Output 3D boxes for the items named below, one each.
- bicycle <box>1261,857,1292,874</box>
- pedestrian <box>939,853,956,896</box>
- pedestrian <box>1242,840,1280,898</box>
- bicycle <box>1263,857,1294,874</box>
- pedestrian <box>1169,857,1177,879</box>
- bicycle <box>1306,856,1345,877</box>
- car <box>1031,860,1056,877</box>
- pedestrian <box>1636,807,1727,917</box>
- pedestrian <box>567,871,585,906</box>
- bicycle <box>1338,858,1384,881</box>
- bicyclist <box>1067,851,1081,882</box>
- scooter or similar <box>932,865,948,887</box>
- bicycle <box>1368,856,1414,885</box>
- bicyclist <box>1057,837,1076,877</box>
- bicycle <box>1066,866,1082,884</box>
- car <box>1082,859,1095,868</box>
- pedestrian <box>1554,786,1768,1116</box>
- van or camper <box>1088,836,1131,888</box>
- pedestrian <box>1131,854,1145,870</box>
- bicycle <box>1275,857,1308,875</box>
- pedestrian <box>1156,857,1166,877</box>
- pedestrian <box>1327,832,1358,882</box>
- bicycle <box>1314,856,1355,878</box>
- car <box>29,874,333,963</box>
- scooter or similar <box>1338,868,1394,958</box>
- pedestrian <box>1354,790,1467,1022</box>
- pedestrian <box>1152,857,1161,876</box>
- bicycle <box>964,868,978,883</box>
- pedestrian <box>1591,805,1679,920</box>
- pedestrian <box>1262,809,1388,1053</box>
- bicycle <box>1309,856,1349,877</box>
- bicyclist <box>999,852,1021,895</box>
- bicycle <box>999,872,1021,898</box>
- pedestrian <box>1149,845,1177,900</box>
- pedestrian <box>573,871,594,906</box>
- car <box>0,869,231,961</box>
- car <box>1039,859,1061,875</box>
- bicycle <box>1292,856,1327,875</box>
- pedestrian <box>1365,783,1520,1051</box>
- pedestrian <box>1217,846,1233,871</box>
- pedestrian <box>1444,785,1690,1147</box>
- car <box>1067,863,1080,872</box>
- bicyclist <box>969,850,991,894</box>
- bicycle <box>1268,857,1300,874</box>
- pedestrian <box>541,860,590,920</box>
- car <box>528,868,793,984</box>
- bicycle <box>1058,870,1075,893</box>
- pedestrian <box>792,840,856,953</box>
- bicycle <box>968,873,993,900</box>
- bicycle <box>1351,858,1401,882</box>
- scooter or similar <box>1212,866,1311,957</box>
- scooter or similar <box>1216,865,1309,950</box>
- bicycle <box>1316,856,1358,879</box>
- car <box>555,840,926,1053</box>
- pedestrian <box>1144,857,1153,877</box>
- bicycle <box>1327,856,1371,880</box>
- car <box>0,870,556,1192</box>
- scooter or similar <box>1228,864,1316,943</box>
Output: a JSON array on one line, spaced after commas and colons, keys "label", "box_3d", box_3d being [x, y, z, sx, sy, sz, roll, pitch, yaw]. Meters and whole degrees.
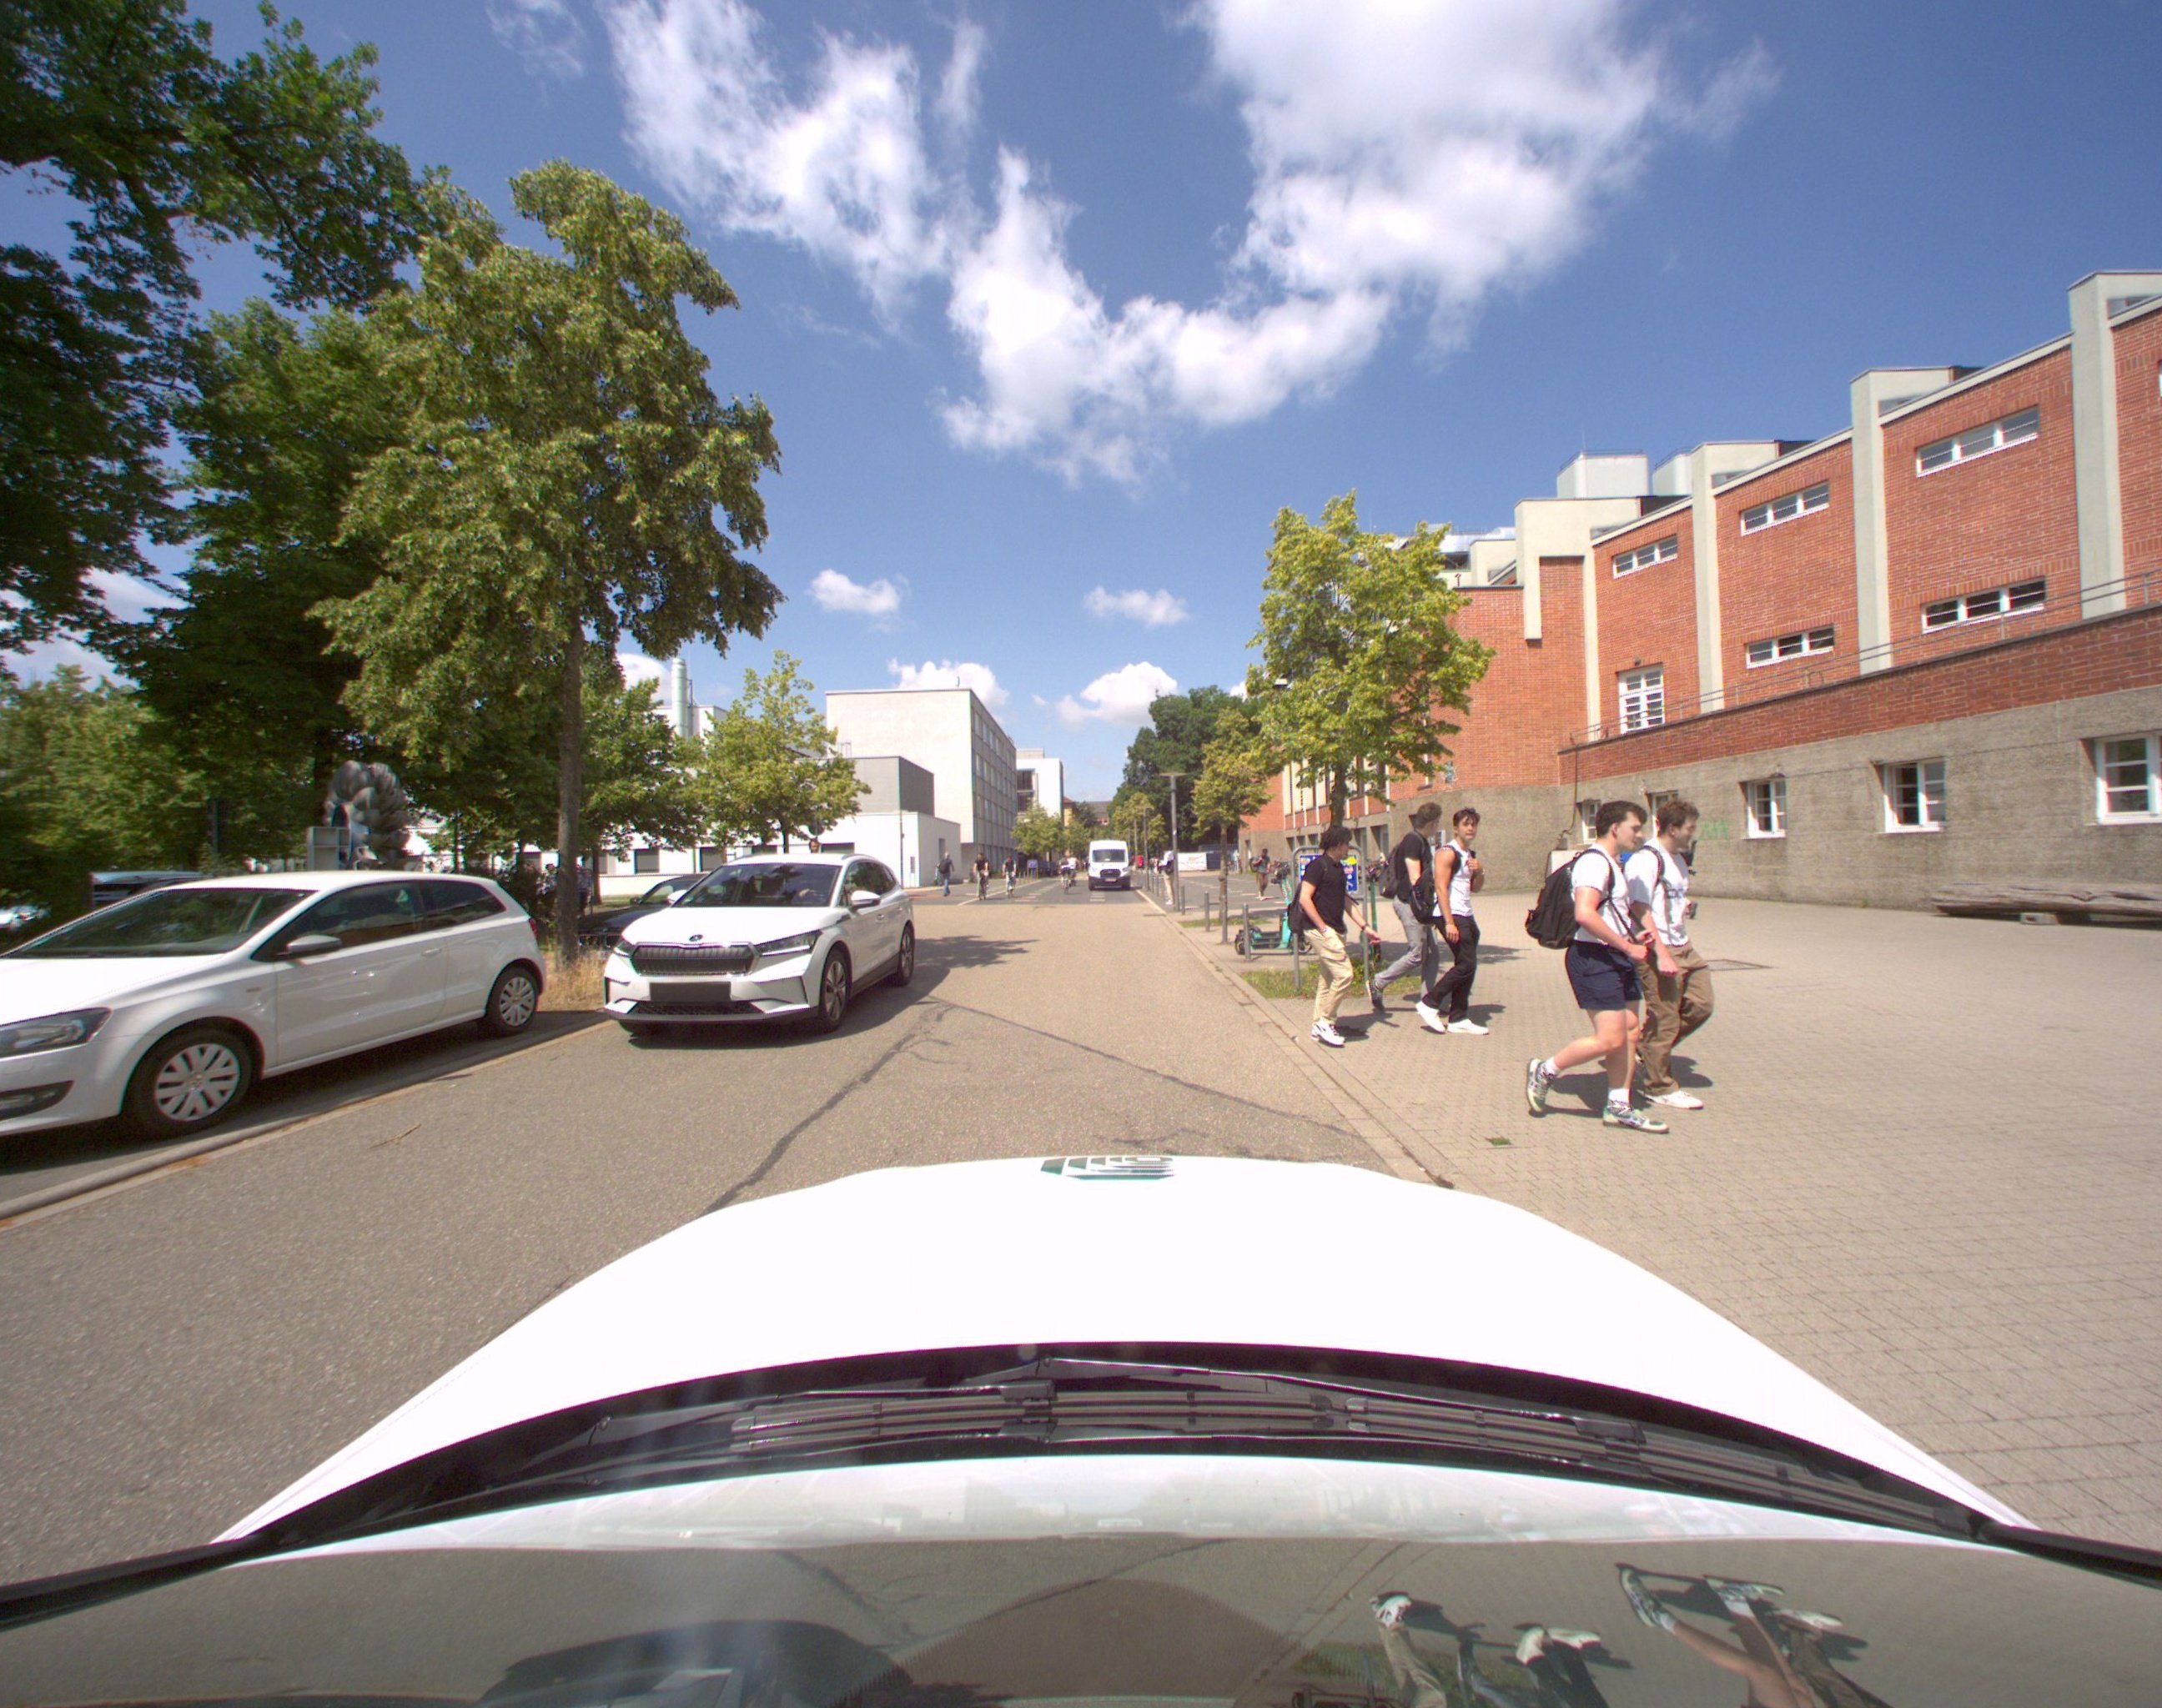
[{"label": "bicycle", "box_3d": [12.631, 0.719, 52.544, 1.803, 0.985, 0.560, -3, -1, 0]}, {"label": "pedestrian", "box_3d": [-5.578, 0.853, 33.976, 0.667, 1.785, 0.981, -1, -2, -12]}, {"label": "pedestrian", "box_3d": [5.680, 0.466, 25.753, 0.851, 1.733, 1.160, -3, -1, -1]}, {"label": "bicycle", "box_3d": [12.604, 0.710, 51.927, 1.803, 0.985, 0.560, -3, -1, 0]}, {"label": "pedestrian", "box_3d": [7.624, 1.158, 67.524, 0.574, 1.860, 0.569, -2, -1, -1]}, {"label": "bicycle", "box_3d": [12.691, 0.648, 42.357, 1.803, 0.985, 0.560, -3, -1, 0]}, {"label": "car", "box_3d": [-3.548, 1.376, 77.362, 1.787, 1.530, 4.006, -2, 0, 5]}, {"label": "pedestrian", "box_3d": [10.490, 0.135, 14.261, 0.701, 1.803, 0.991, -5, 0, -7]}, {"label": "pedestrian", "box_3d": [-25.469, 1.726, 41.077, 0.549, 1.764, 0.586, -1, -1, 2]}, {"label": "bicycle", "box_3d": [12.318, 0.670, 35.843, 1.803, 0.912, 0.560, -3, -1, 0]}, {"label": "bicyclist", "box_3d": [-0.405, 0.744, 48.502, 0.768, 1.756, 0.849, 2, 1, 1]}, {"label": "scooter or similar", "box_3d": [-8.321, 1.290, 48.016, 0.374, 1.216, 1.211, -2, -1, 18]}, {"label": "bicycle", "box_3d": [12.044, 0.633, 31.653, 1.529, 1.033, 0.560, -3, -1, 0]}, {"label": "bicyclist", "box_3d": [-0.651, 0.126, 35.847, 0.715, 1.662, 1.094, -4, -3, -3]}, {"label": "bicycle", "box_3d": [-0.405, 1.235, 48.417, 0.805, 1.002, 2.125, 0, 1, 2]}, {"label": "car", "box_3d": [1.337, 1.717, 143.167, 1.787, 1.530, 4.006, -2, 0, 5]}, {"label": "pedestrian", "box_3d": [3.440, 0.520, 4.847, 0.897, 1.739, 0.683, -4, -1, 39]}, {"label": "van or camper", "box_3d": [1.395, 0.421, 40.564, 1.986, 2.446, 4.571, -1, -1, 2]}, {"label": "pedestrian", "box_3d": [7.414, 1.030, 106.433, 1.495, 1.996, 1.646, -5, 0, -1]}, {"label": "bicycle", "box_3d": [12.569, 0.697, 48.673, 1.803, 0.985, 0.560, -3, -1, 0]}, {"label": "pedestrian", "box_3d": [7.513, 1.209, 76.233, 0.787, 1.860, 1.026, -2, -1, 3]}, {"label": "pedestrian", "box_3d": [10.003, 0.123, 31.198, 0.787, 1.860, 1.116, -2, -1, 0]}, {"label": "bicycle", "box_3d": [12.278, 0.635, 39.464, 1.803, 0.985, 0.560, -3, -1, 0]}, {"label": "car", "box_3d": [-20.419, 1.380, 18.851, 1.921, 1.516, 4.442, -5, 0, 1]}, {"label": "scooter or similar", "box_3d": [3.962, 0.798, 11.388, 0.643, 1.160, 1.270, -2, -1, 17]}, {"label": "pedestrian", "box_3d": [2.995, 0.457, 7.431, 0.819, 1.980, 0.695, -3, -1, 21]}, {"label": "pedestrian", "box_3d": [7.399, 1.230, 79.792, 0.787, 1.860, 1.026, -2, -1, 3]}, {"label": "bicycle", "box_3d": [-7.490, 1.451, 55.338, 0.520, 0.985, 1.635, -3, -1, 6]}, {"label": "pedestrian", "box_3d": [9.582, 0.143, 14.127, 0.700, 1.892, 0.992, -3, 0, -6]}, {"label": "pedestrian", "box_3d": [1.956, 0.573, 6.464, 0.794, 1.772, 0.859, -3, -1, 22]}, {"label": "bicycle", "box_3d": [12.710, 0.649, 41.754, 1.803, 0.985, 0.560, -3, -1, 0]}, {"label": "bicyclist", "box_3d": [-2.833, 0.779, 32.587, 0.665, 1.681, 0.993, -3, -1, 1]}, {"label": "bicycle", "box_3d": [-2.816, 1.226, 32.477, 0.674, 0.965, 2.003, 0, -1, 1]}, {"label": "pedestrian", "box_3d": [2.631, 0.591, 26.118, 0.700, 1.694, 0.962, -4, -1, 2]}, {"label": "pedestrian", "box_3d": [-25.578, 1.781, 41.864, 0.690, 1.749, 0.636, -1, -1, 2]}, {"label": "car", "box_3d": [-23.087, 1.368, 18.862, 1.921, 1.768, 4.442, -5, 0, 1]}, {"label": "car", "box_3d": [-3.197, 1.308, 84.775, 1.787, 1.530, 4.006, -2, 0, 5]}, {"label": "bicycle", "box_3d": [12.933, 0.664, 46.130, 1.803, 0.985, 0.560, -3, -1, 0]}, {"label": "pedestrian", "box_3d": [2.882, 0.474, 6.546, 0.620, 1.980, 0.821, -2, -2, -30]}, {"label": "pedestrian", "box_3d": [11.077, 0.319, 62.665, 0.844, 1.860, 1.123, -2, -1, 25]}, {"label": "pedestrian", "box_3d": [2.677, 0.550, 4.502, 0.971, 1.739, 0.705, -4, -1, 41]}, {"label": "car", "box_3d": [-1.277, 2.344, 143.807, 1.787, 1.530, 4.006, -2, 0, 5]}, {"label": "bicyclist", "box_3d": [-3.786, 0.675, 30.614, 0.641, 1.601, 0.909, -3, -1, -1]}, {"label": "bicycle", "box_3d": [12.502, 0.707, 50.209, 1.803, 0.985, 0.560, -3, -1, 0]}, {"label": "pedestrian", "box_3d": [-15.334, 1.062, 24.239, 0.843, 1.708, 0.860, -2, 1, 29]}, {"label": "car", "box_3d": [-5.804, 0.910, 11.854, 1.638, 1.300, 3.930, -2, 0, 3]}, {"label": "bicycle", "box_3d": [-0.652, 1.205, 36.010, 0.705, 0.993, 1.908, -1, -2, -3]}, {"label": "pedestrian", "box_3d": [-4.544, 0.731, 14.470, 1.017, 1.903, 1.172, 0, -1, -16]}, {"label": "bicycle", "box_3d": [-3.767, 1.207, 30.632, 0.675, 0.965, 2.002, -1, -1, -1]}, {"label": "bicycle", "box_3d": [12.146, 0.664, 33.584, 1.803, 0.912, 0.560, -3, -1, 0]}, {"label": "scooter or similar", "box_3d": [2.692, 0.843, 12.188, 1.248, 1.265, 0.655, -3, -1, 33]}, {"label": "scooter or similar", "box_3d": [2.884, 0.837, 12.959, 1.248, 1.265, 0.655, -3, -1, 33]}, {"label": "bicycle", "box_3d": [12.236, 0.637, 38.955, 1.803, 0.985, 0.560, -3, -1, 0]}, {"label": "car", "box_3d": [-3.068, 0.773, 8.591, 1.911, 1.619, 4.520, 1, -1, 1]}, {"label": "pedestrian", "box_3d": [6.335, 1.245, 76.505, 0.787, 1.860, 1.244, -2, -1, 3]}, {"label": "bicycle", "box_3d": [12.383, 0.631, 37.607, 1.803, 0.985, 0.560, -3, -1, 0]}, {"label": "car", "box_3d": [-5.713, 0.852, 5.614, 1.656, 1.412, 3.808, 0, 0, 1]}, {"label": "scooter or similar", "box_3d": [3.229, 0.820, 13.767, 1.248, 1.265, 0.644, -3, -1, 33]}]
